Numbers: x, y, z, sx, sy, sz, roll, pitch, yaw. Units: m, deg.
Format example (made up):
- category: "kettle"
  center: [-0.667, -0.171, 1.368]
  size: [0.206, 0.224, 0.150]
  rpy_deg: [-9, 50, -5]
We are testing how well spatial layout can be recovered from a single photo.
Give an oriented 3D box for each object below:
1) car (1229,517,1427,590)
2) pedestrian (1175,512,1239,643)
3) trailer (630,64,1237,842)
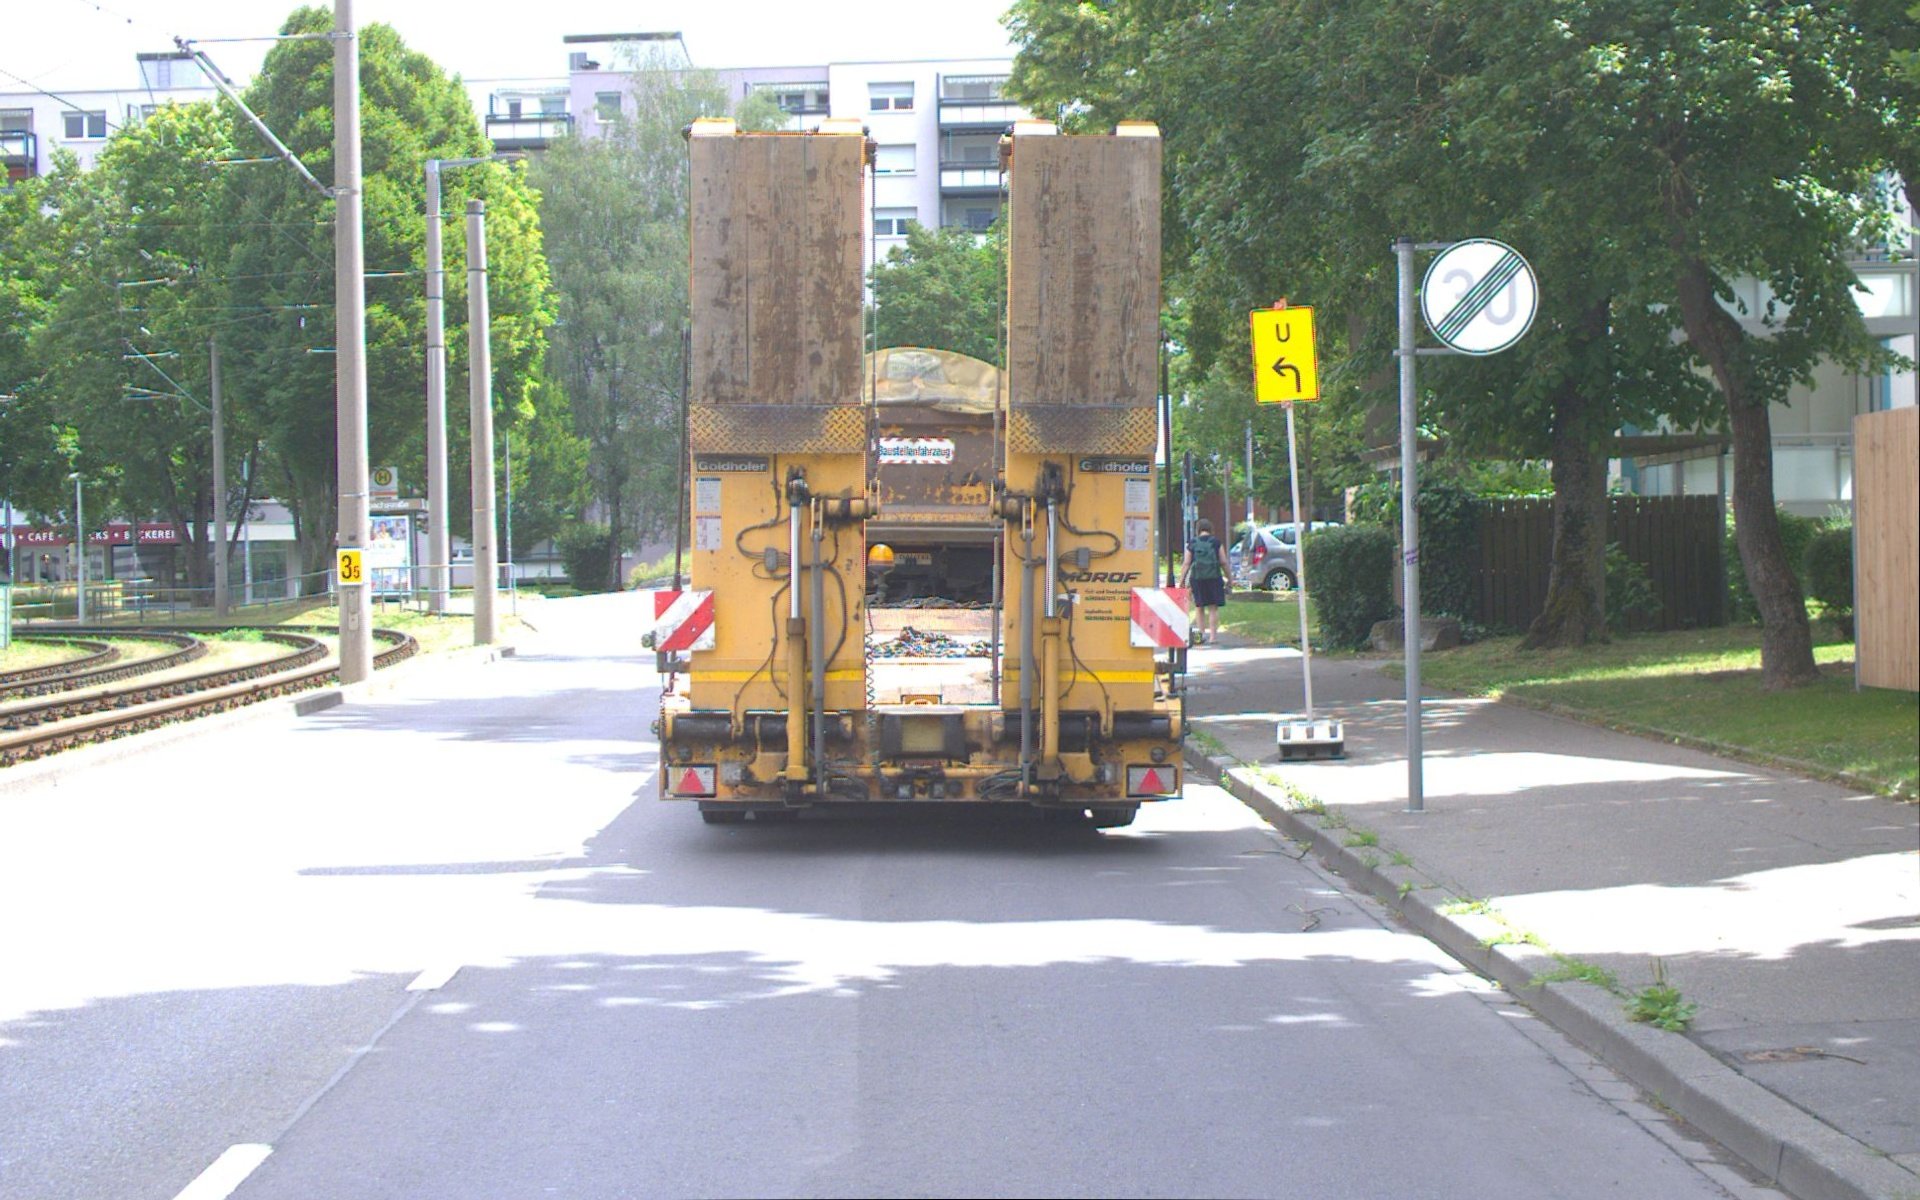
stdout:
- category: "car"
  center: [8.119, -1.026, 76.028]
  size: [3.986, 1.556, 1.760]
  rpy_deg: [0, 1, -13]
- category: "pedestrian"
  center: [3.283, -0.305, 45.696]
  size: [0.718, 1.700, 0.766]
  rpy_deg: [-2, 1, -1]
- category: "trailer"
  center: [-0.303, -0.793, 22.360]
  size: [2.827, 3.633, 12.355]
  rpy_deg: [1, 1, -2]
